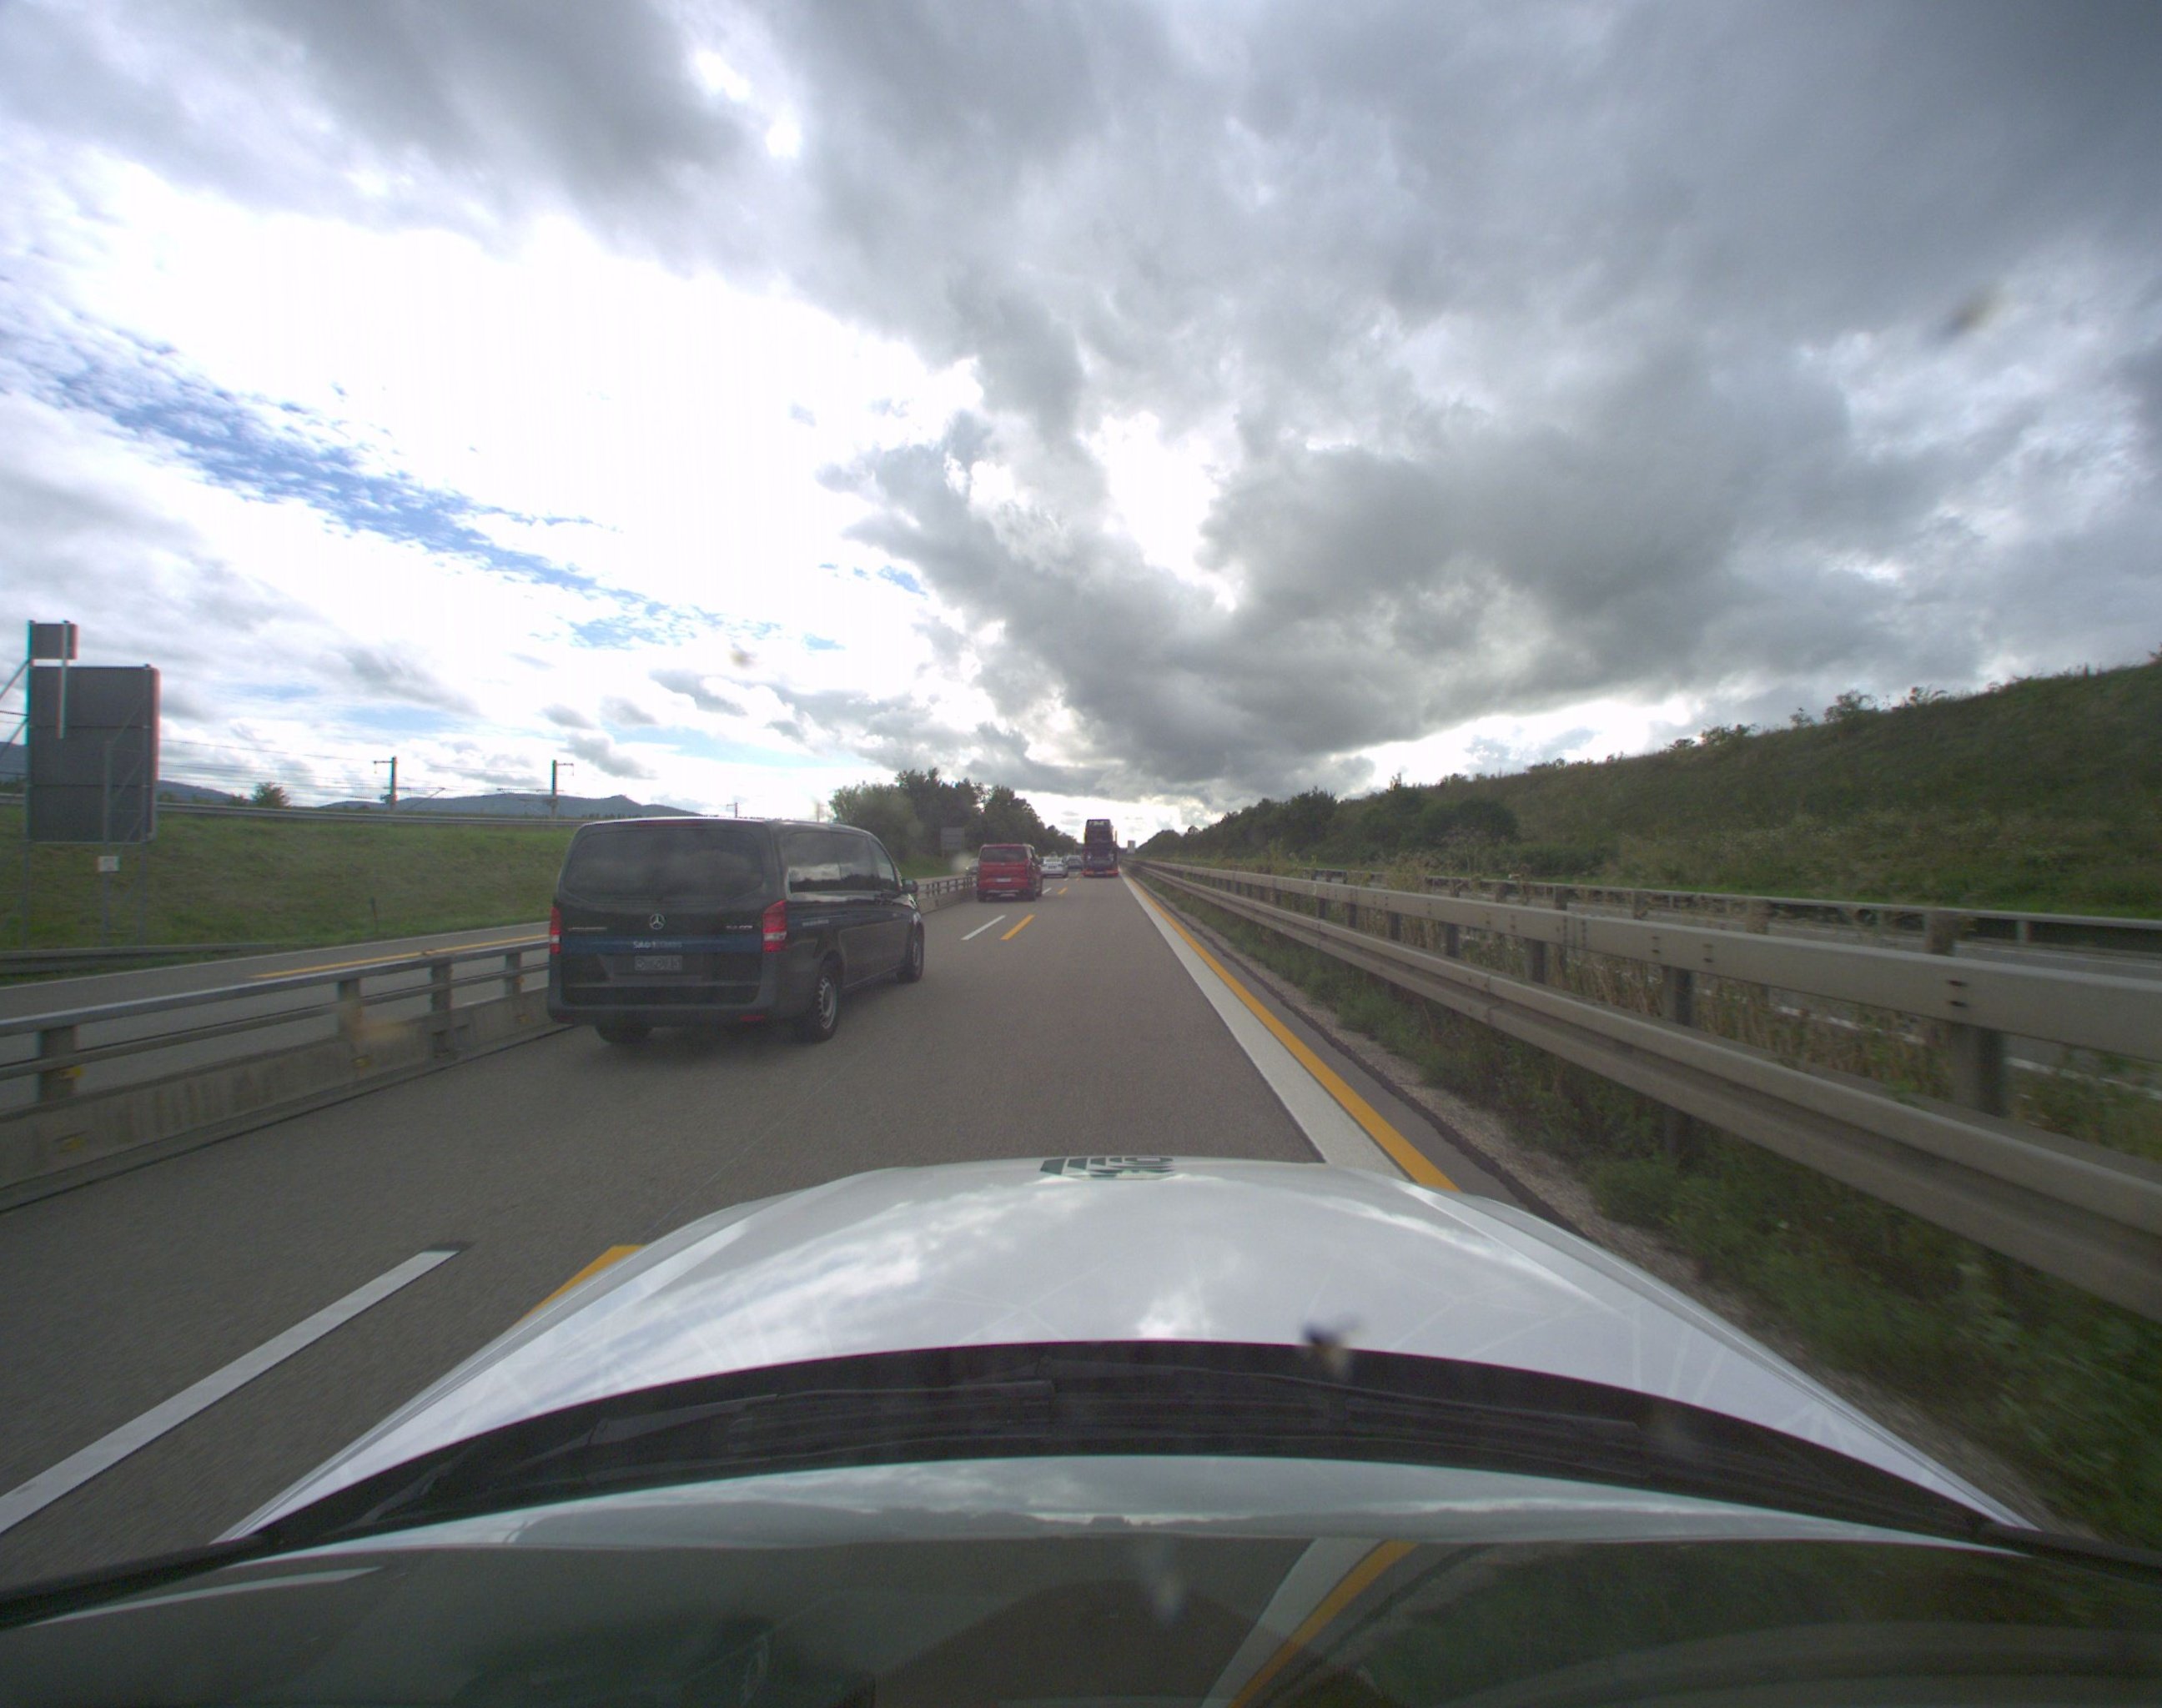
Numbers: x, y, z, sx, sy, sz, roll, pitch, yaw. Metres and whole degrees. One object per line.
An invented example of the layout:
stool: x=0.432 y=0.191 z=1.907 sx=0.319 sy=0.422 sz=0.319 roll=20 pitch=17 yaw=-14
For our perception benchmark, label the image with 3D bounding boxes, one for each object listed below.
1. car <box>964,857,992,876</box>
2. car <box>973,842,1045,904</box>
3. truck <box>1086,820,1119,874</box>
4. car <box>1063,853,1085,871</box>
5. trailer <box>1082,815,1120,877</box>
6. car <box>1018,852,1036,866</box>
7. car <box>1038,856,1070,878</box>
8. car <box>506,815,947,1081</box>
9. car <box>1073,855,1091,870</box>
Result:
car: x=-8.204 y=0.994 z=65.226 sx=1.752 sy=1.388 sz=3.999 roll=-1 pitch=0 yaw=0
car: x=-2.492 y=0.639 z=29.417 sx=2.023 sy=2.013 sz=4.580 roll=-1 pitch=0 yaw=2
truck: x=1.768 y=-0.504 z=65.032 sx=2.505 sy=4.105 sz=5.688 roll=-1 pitch=0 yaw=2
car: x=-0.692 y=0.790 z=83.509 sx=2.024 sy=1.757 sz=4.579 roll=-1 pitch=0 yaw=1
trailer: x=1.563 y=-0.527 z=60.245 sx=2.505 sy=4.105 sz=11.119 roll=-1 pitch=0 yaw=2
car: x=-7.315 y=0.702 z=109.874 sx=1.986 sy=1.791 sz=4.935 roll=-1 pitch=0 yaw=1
car: x=-1.886 y=0.910 z=58.053 sx=2.024 sy=1.430 sz=4.579 roll=-1 pitch=0 yaw=1
car: x=-2.984 y=0.676 z=8.574 sx=1.986 sy=1.843 sz=5.612 roll=-1 pitch=0 yaw=2
car: x=0.107 y=1.012 z=96.700 sx=2.024 sy=1.757 sz=4.578 roll=-1 pitch=0 yaw=1
